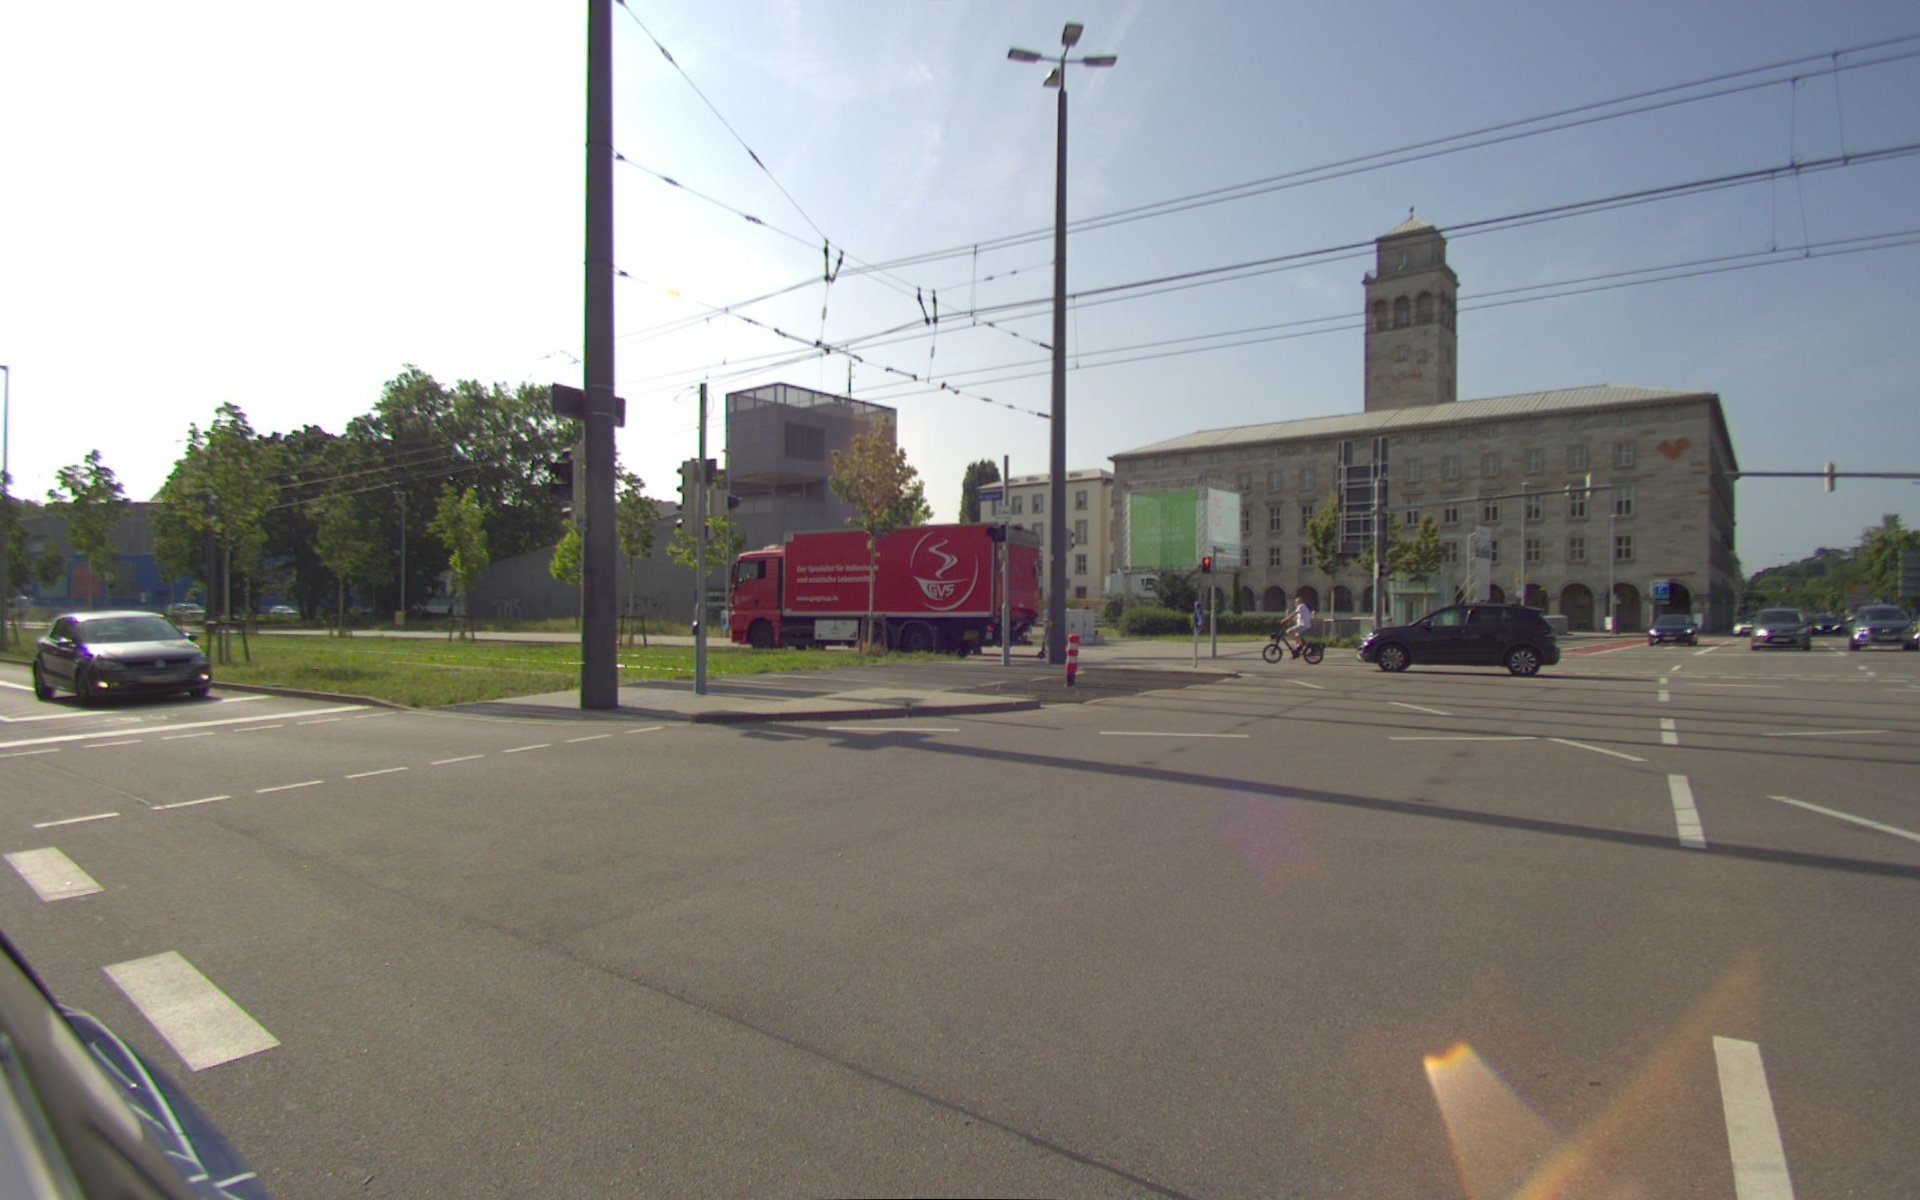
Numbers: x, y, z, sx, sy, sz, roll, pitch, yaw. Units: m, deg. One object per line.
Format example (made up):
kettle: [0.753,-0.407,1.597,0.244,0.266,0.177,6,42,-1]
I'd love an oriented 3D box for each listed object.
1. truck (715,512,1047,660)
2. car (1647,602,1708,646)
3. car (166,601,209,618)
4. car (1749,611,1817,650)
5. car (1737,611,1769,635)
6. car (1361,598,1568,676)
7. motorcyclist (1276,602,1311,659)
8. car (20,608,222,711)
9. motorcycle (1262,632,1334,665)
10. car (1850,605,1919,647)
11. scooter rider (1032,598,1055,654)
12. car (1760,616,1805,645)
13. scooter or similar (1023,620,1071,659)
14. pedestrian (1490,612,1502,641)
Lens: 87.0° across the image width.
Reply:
truck: [-2.652,-0.336,30.373,10.394,3.838,2.947,0,0,34]
car: [34.313,1.097,48.384,1.999,2.029,3.945,0,0,41]
car: [-86.030,1.060,112.734,4.801,1.781,2.000,0,0,28]
car: [31.272,1.127,38.533,1.706,1.391,3.612,0,0,34]
car: [62.472,1.791,79.761,1.910,1.730,4.054,0,0,38]
car: [11.115,0.771,22.458,3.982,1.613,1.629,0,-1,29]
motorcyclist: [9.131,0.836,27.701,0.857,1.539,0.388,0,-1,29]
car: [-13.926,0.895,16.745,3.862,1.443,1.689,-1,2,37]
motorcycle: [9.218,1.317,27.639,1.814,0.839,0.515,0,-1,29]
car: [33.513,0.907,36.585,1.565,1.431,3.303,0,0,34]
scooter rider: [2.566,0.793,31.175,0.548,1.710,0.533,0,0,31]
car: [47.027,1.697,57.861,1.833,1.517,3.963,0,0,42]
scooter or similar: [2.668,1.199,31.172,1.378,1.155,0.535,0,0,30]
pedestrian: [32.755,1.620,61.869,0.575,1.744,0.643,0,0,24]
